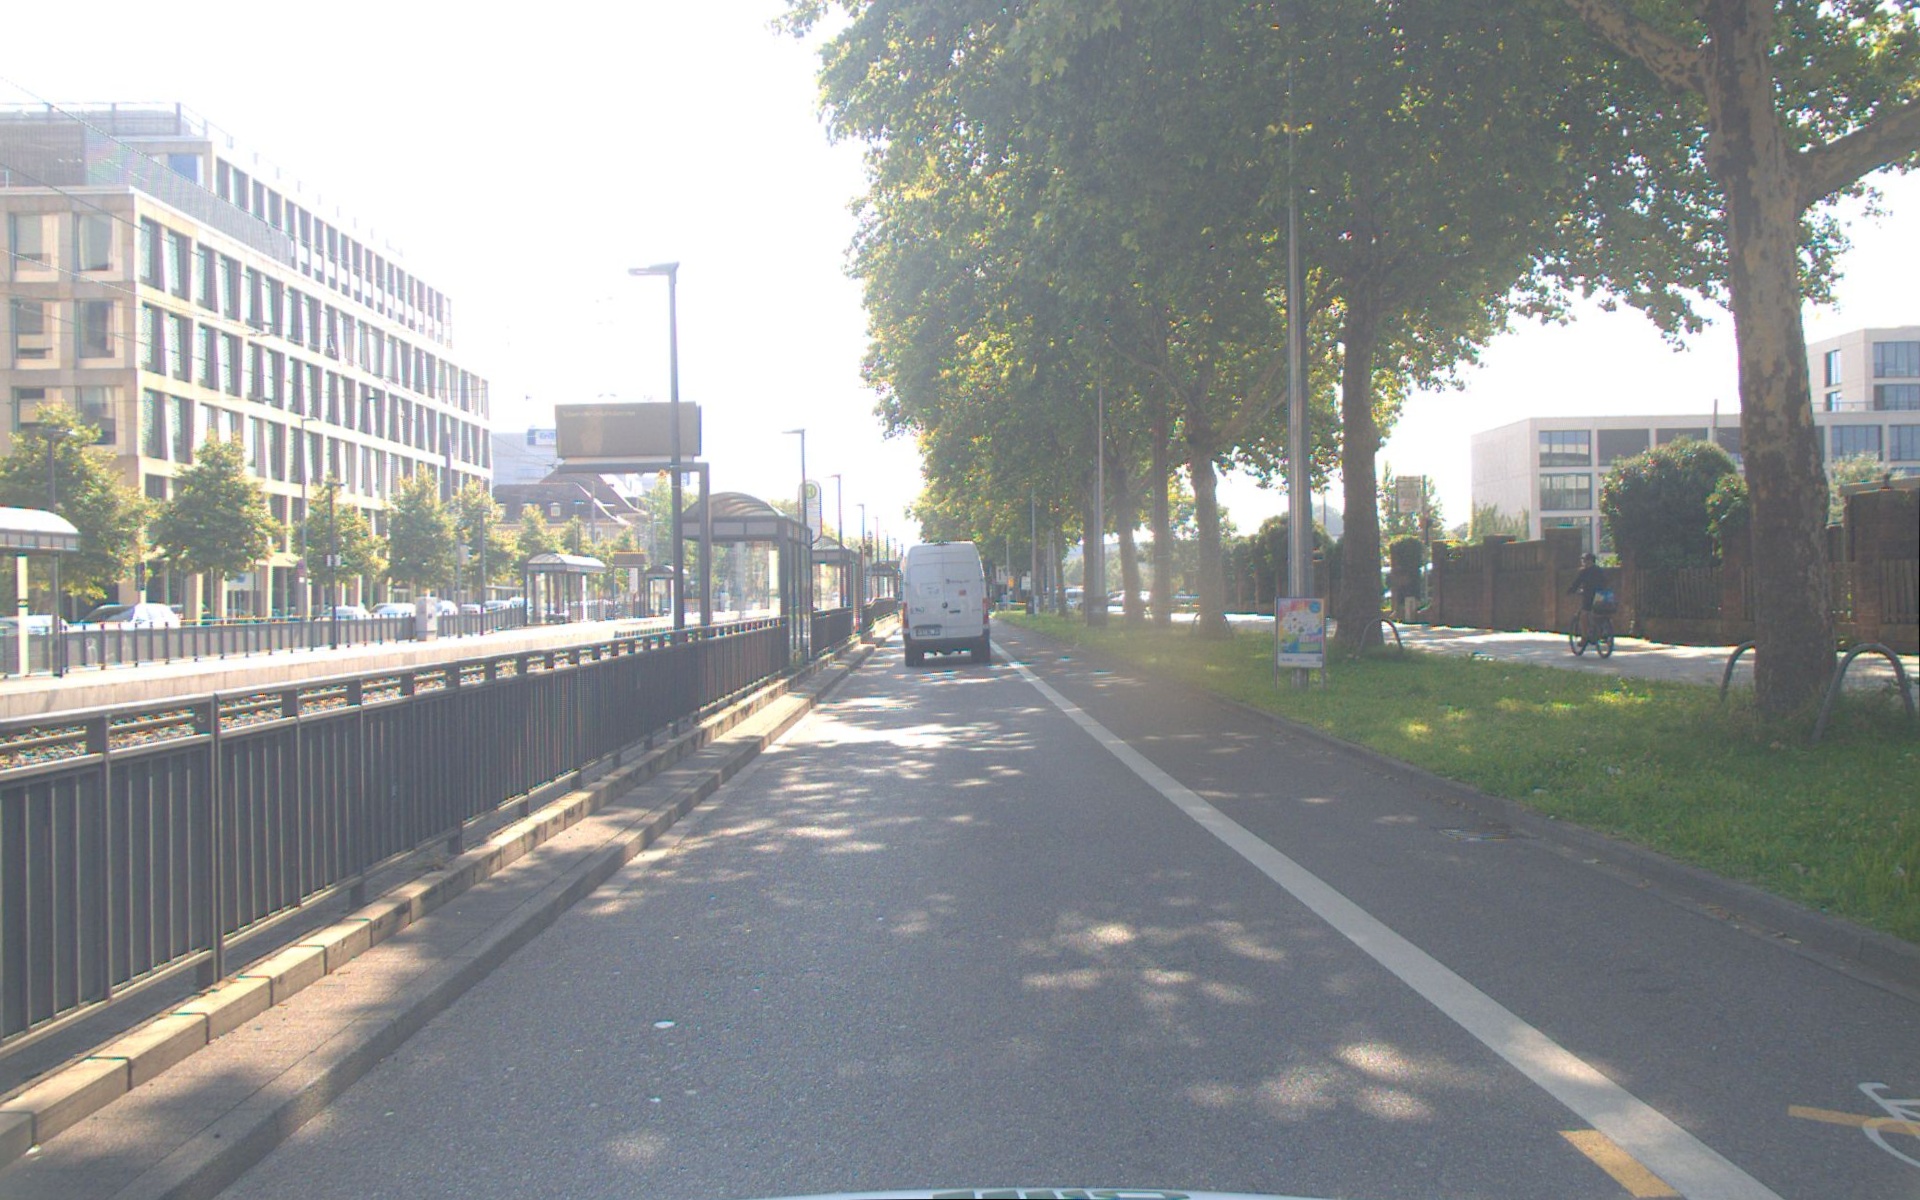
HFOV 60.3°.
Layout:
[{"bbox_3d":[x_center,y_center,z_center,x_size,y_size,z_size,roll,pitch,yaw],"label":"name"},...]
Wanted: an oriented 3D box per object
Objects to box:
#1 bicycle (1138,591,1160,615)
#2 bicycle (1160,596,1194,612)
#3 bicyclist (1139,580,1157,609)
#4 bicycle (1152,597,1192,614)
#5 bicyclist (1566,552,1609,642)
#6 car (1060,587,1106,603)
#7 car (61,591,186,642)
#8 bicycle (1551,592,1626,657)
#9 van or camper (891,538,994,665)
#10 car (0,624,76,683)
[{"bbox_3d":[8.668,0.128,75.915,0.668,1.022,2.217,-2,0,-2],"label":"bicycle"},{"bbox_3d":[12.512,0.235,95.350,1.893,0.861,0.372,-2,0,-1],"label":"bicycle"},{"bbox_3d":[8.633,-0.271,75.983,0.656,1.298,0.728,-2,0,-2],"label":"bicyclist"},{"bbox_3d":[11.862,0.287,92.541,2.136,0.861,0.503,-2,0,-1],"label":"bicycle"},{"bbox_3d":[11.053,-0.054,29.141,0.460,1.566,0.596,-1,0,-4],"label":"bicyclist"},{"bbox_3d":[10.799,-0.416,145.588,3.906,1.400,1.999,0,-1,-1],"label":"car"},{"bbox_3d":[-25.380,0.464,50.341,1.650,1.432,4.369,-2,0,-2],"label":"car"},{"bbox_3d":[11.053,0.413,29.147,0.481,1.108,1.856,-1,0,-4],"label":"bicycle"},{"bbox_3d":[-0.481,0.039,38.332,2.074,2.729,5.246,0,0,-4],"label":"van or camper"},{"bbox_3d":[-25.275,1.413,43.610,1.650,1.432,4.372,-2,0,-2],"label":"car"}]
